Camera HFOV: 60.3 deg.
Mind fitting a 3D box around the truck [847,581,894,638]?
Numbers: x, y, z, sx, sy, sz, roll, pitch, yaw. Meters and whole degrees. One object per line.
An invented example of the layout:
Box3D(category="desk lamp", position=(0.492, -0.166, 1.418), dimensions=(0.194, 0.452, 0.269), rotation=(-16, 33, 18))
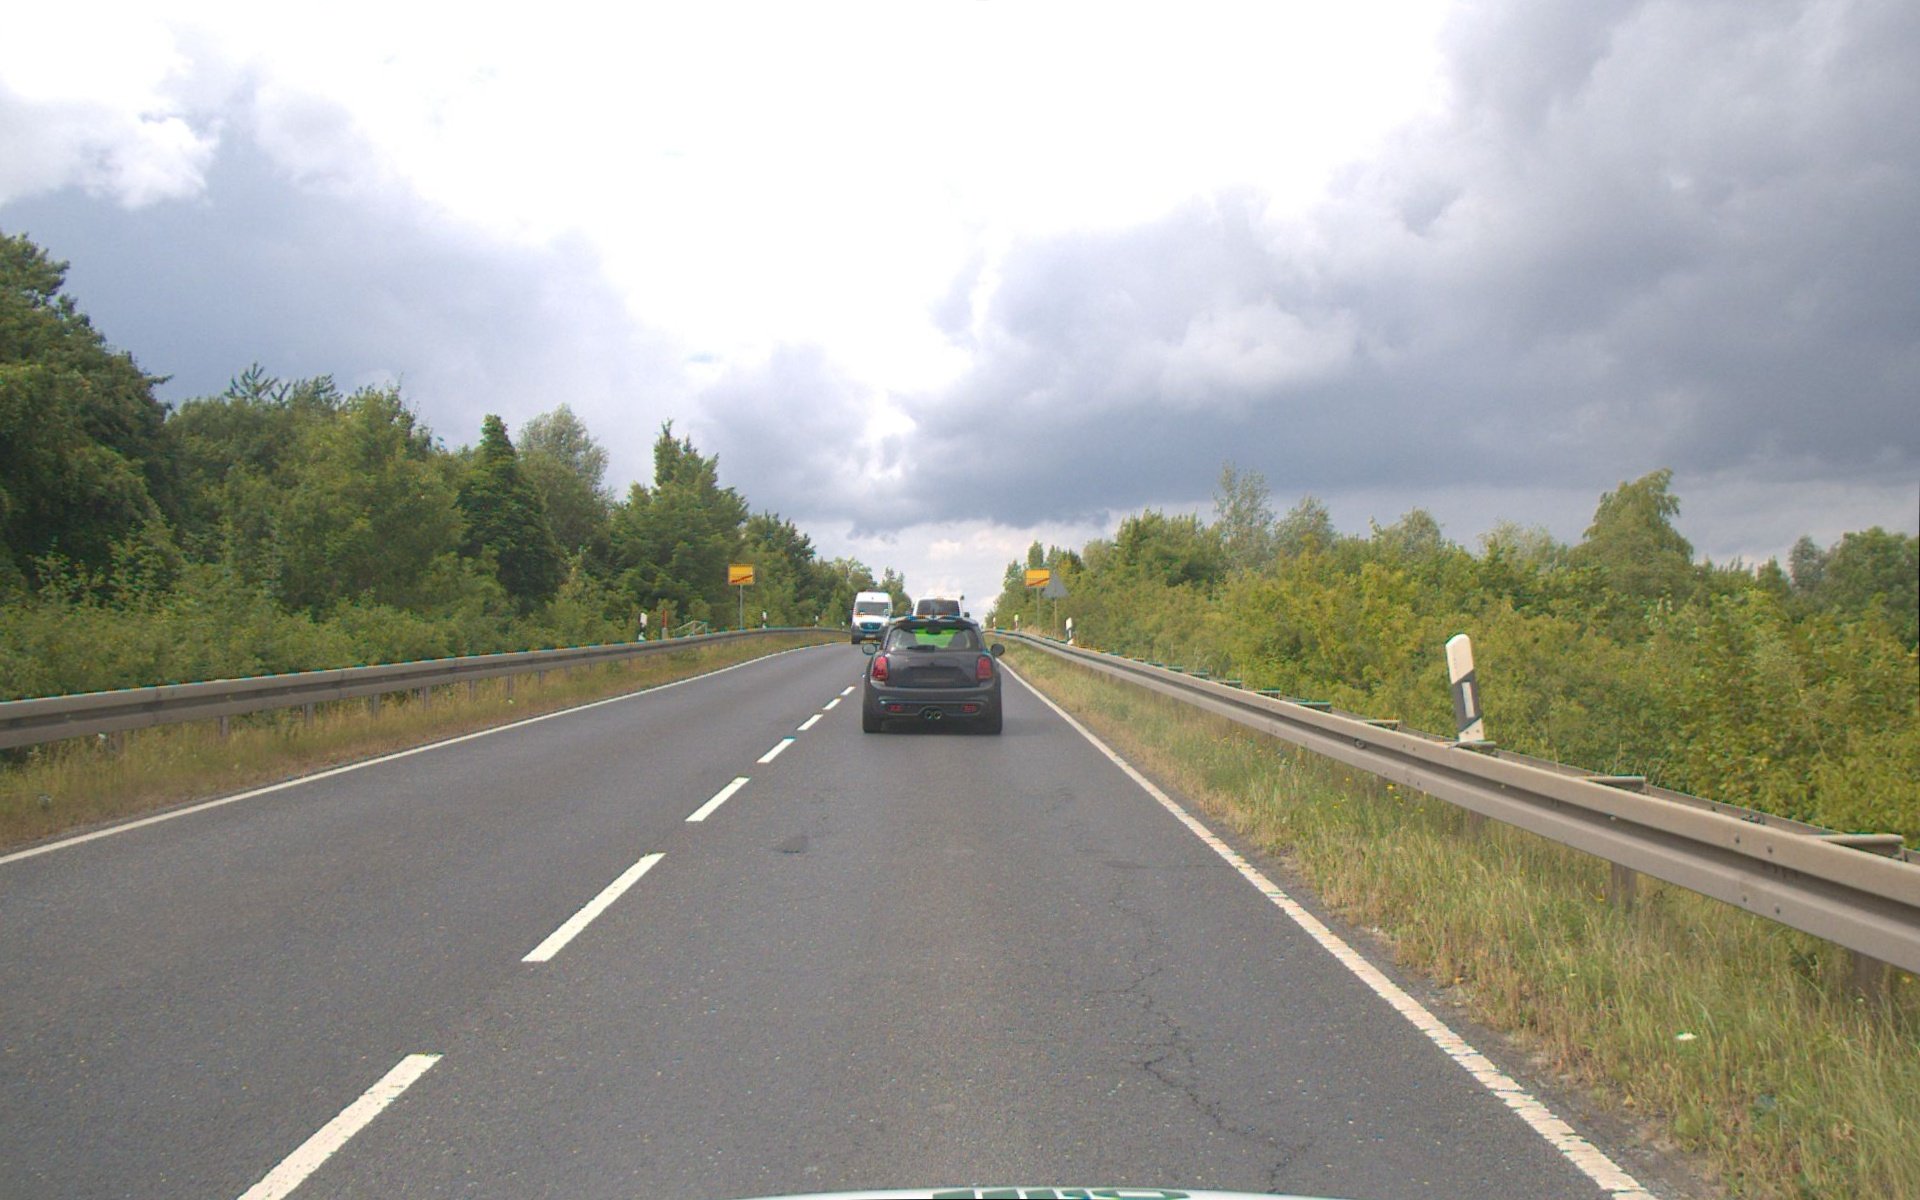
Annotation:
Box3D(category="truck", position=(-4.555, 0.455, 85.275), dimensions=(2.023, 2.790, 7.006), rotation=(-1, 0, 0))

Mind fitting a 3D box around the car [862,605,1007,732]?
Box3D(category="car", position=(-0.359, 0.830, 21.576), dimensions=(1.697, 1.481, 3.998), rotation=(1, -1, -2))

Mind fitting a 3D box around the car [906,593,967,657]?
Box3D(category="car", position=(-0.820, 0.817, 55.317), dimensions=(1.981, 2.049, 3.998), rotation=(0, -1, -2))
